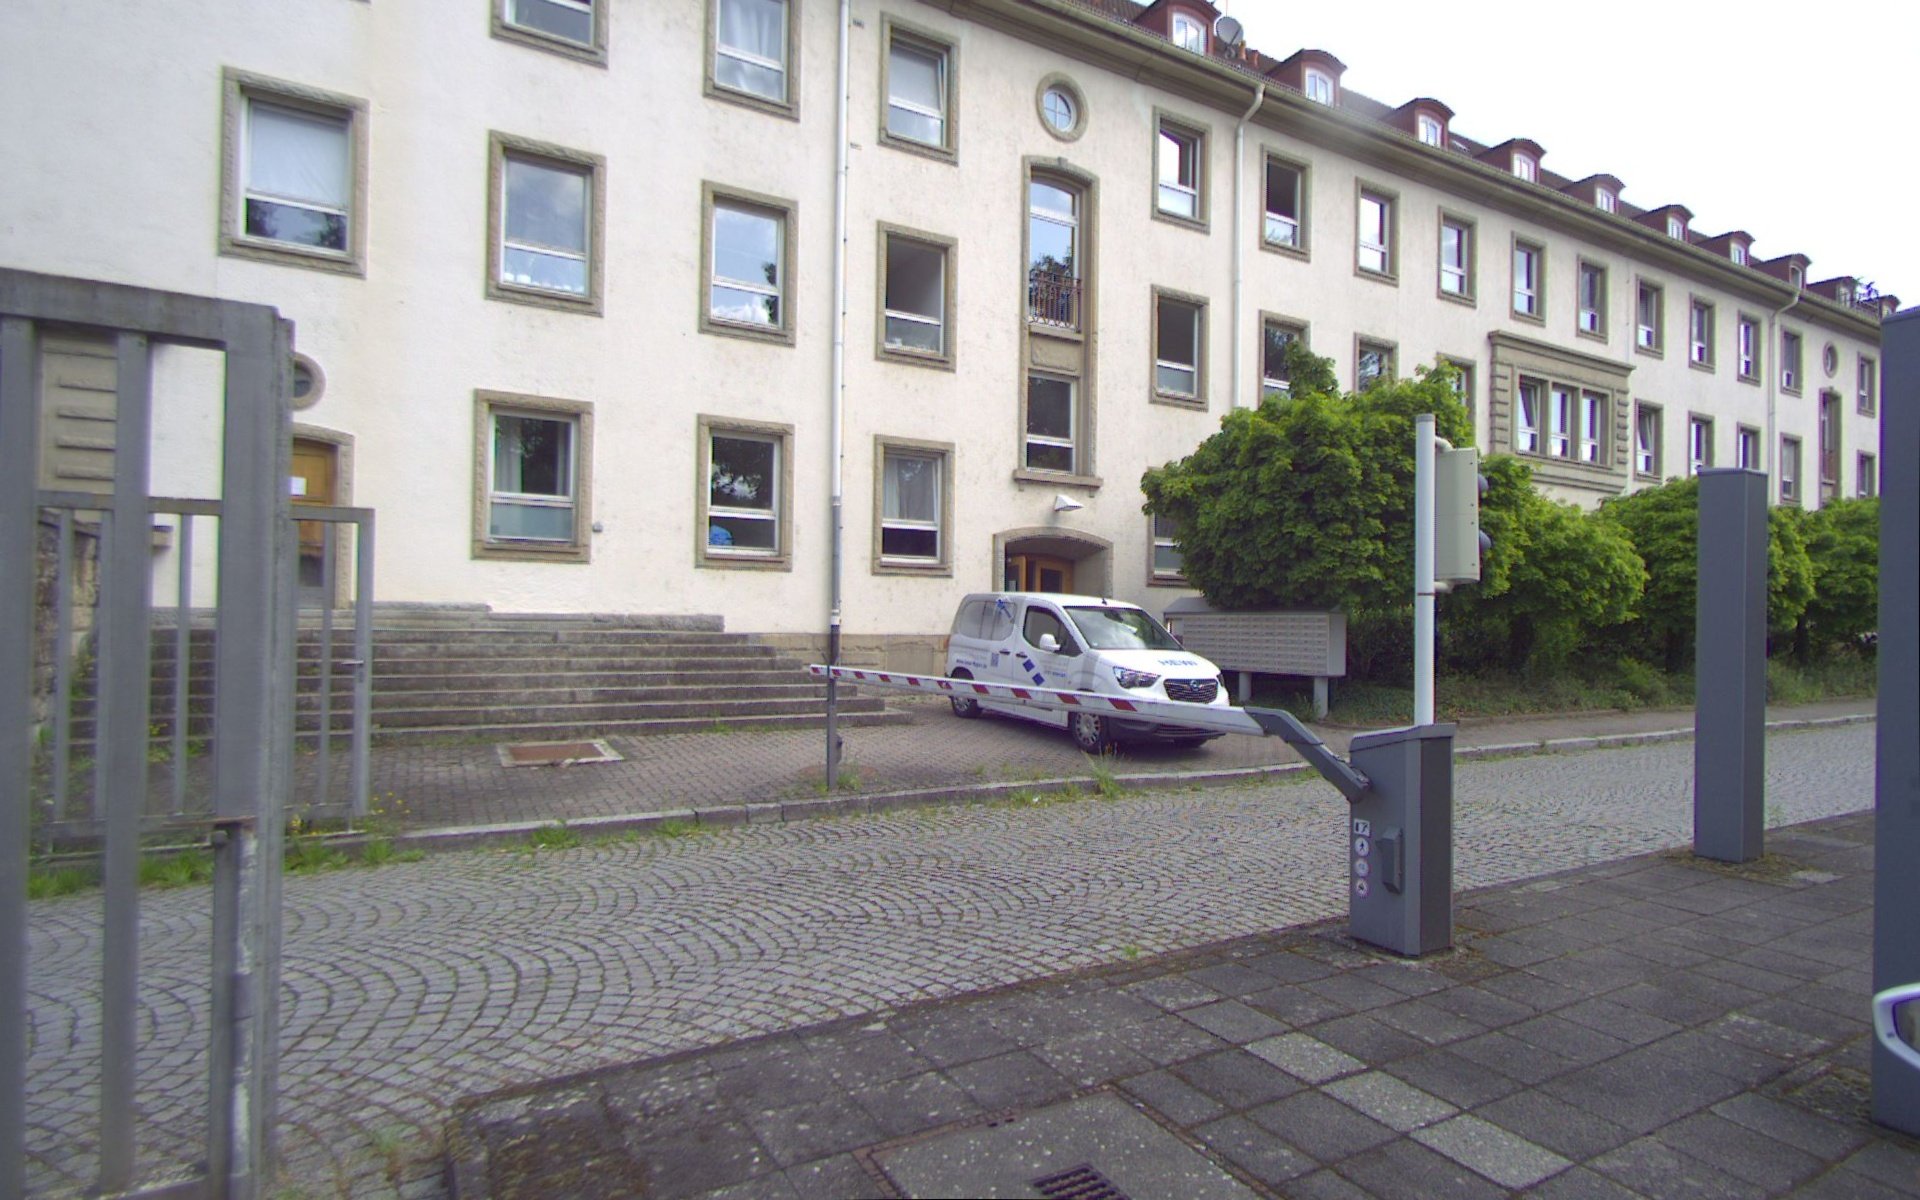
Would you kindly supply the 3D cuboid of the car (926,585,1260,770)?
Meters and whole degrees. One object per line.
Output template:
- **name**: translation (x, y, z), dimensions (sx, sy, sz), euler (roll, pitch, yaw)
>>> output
- **car**: translation (1.489, 0.810, 12.983), dimensions (1.838, 1.775, 4.410), euler (1, 3, -32)
